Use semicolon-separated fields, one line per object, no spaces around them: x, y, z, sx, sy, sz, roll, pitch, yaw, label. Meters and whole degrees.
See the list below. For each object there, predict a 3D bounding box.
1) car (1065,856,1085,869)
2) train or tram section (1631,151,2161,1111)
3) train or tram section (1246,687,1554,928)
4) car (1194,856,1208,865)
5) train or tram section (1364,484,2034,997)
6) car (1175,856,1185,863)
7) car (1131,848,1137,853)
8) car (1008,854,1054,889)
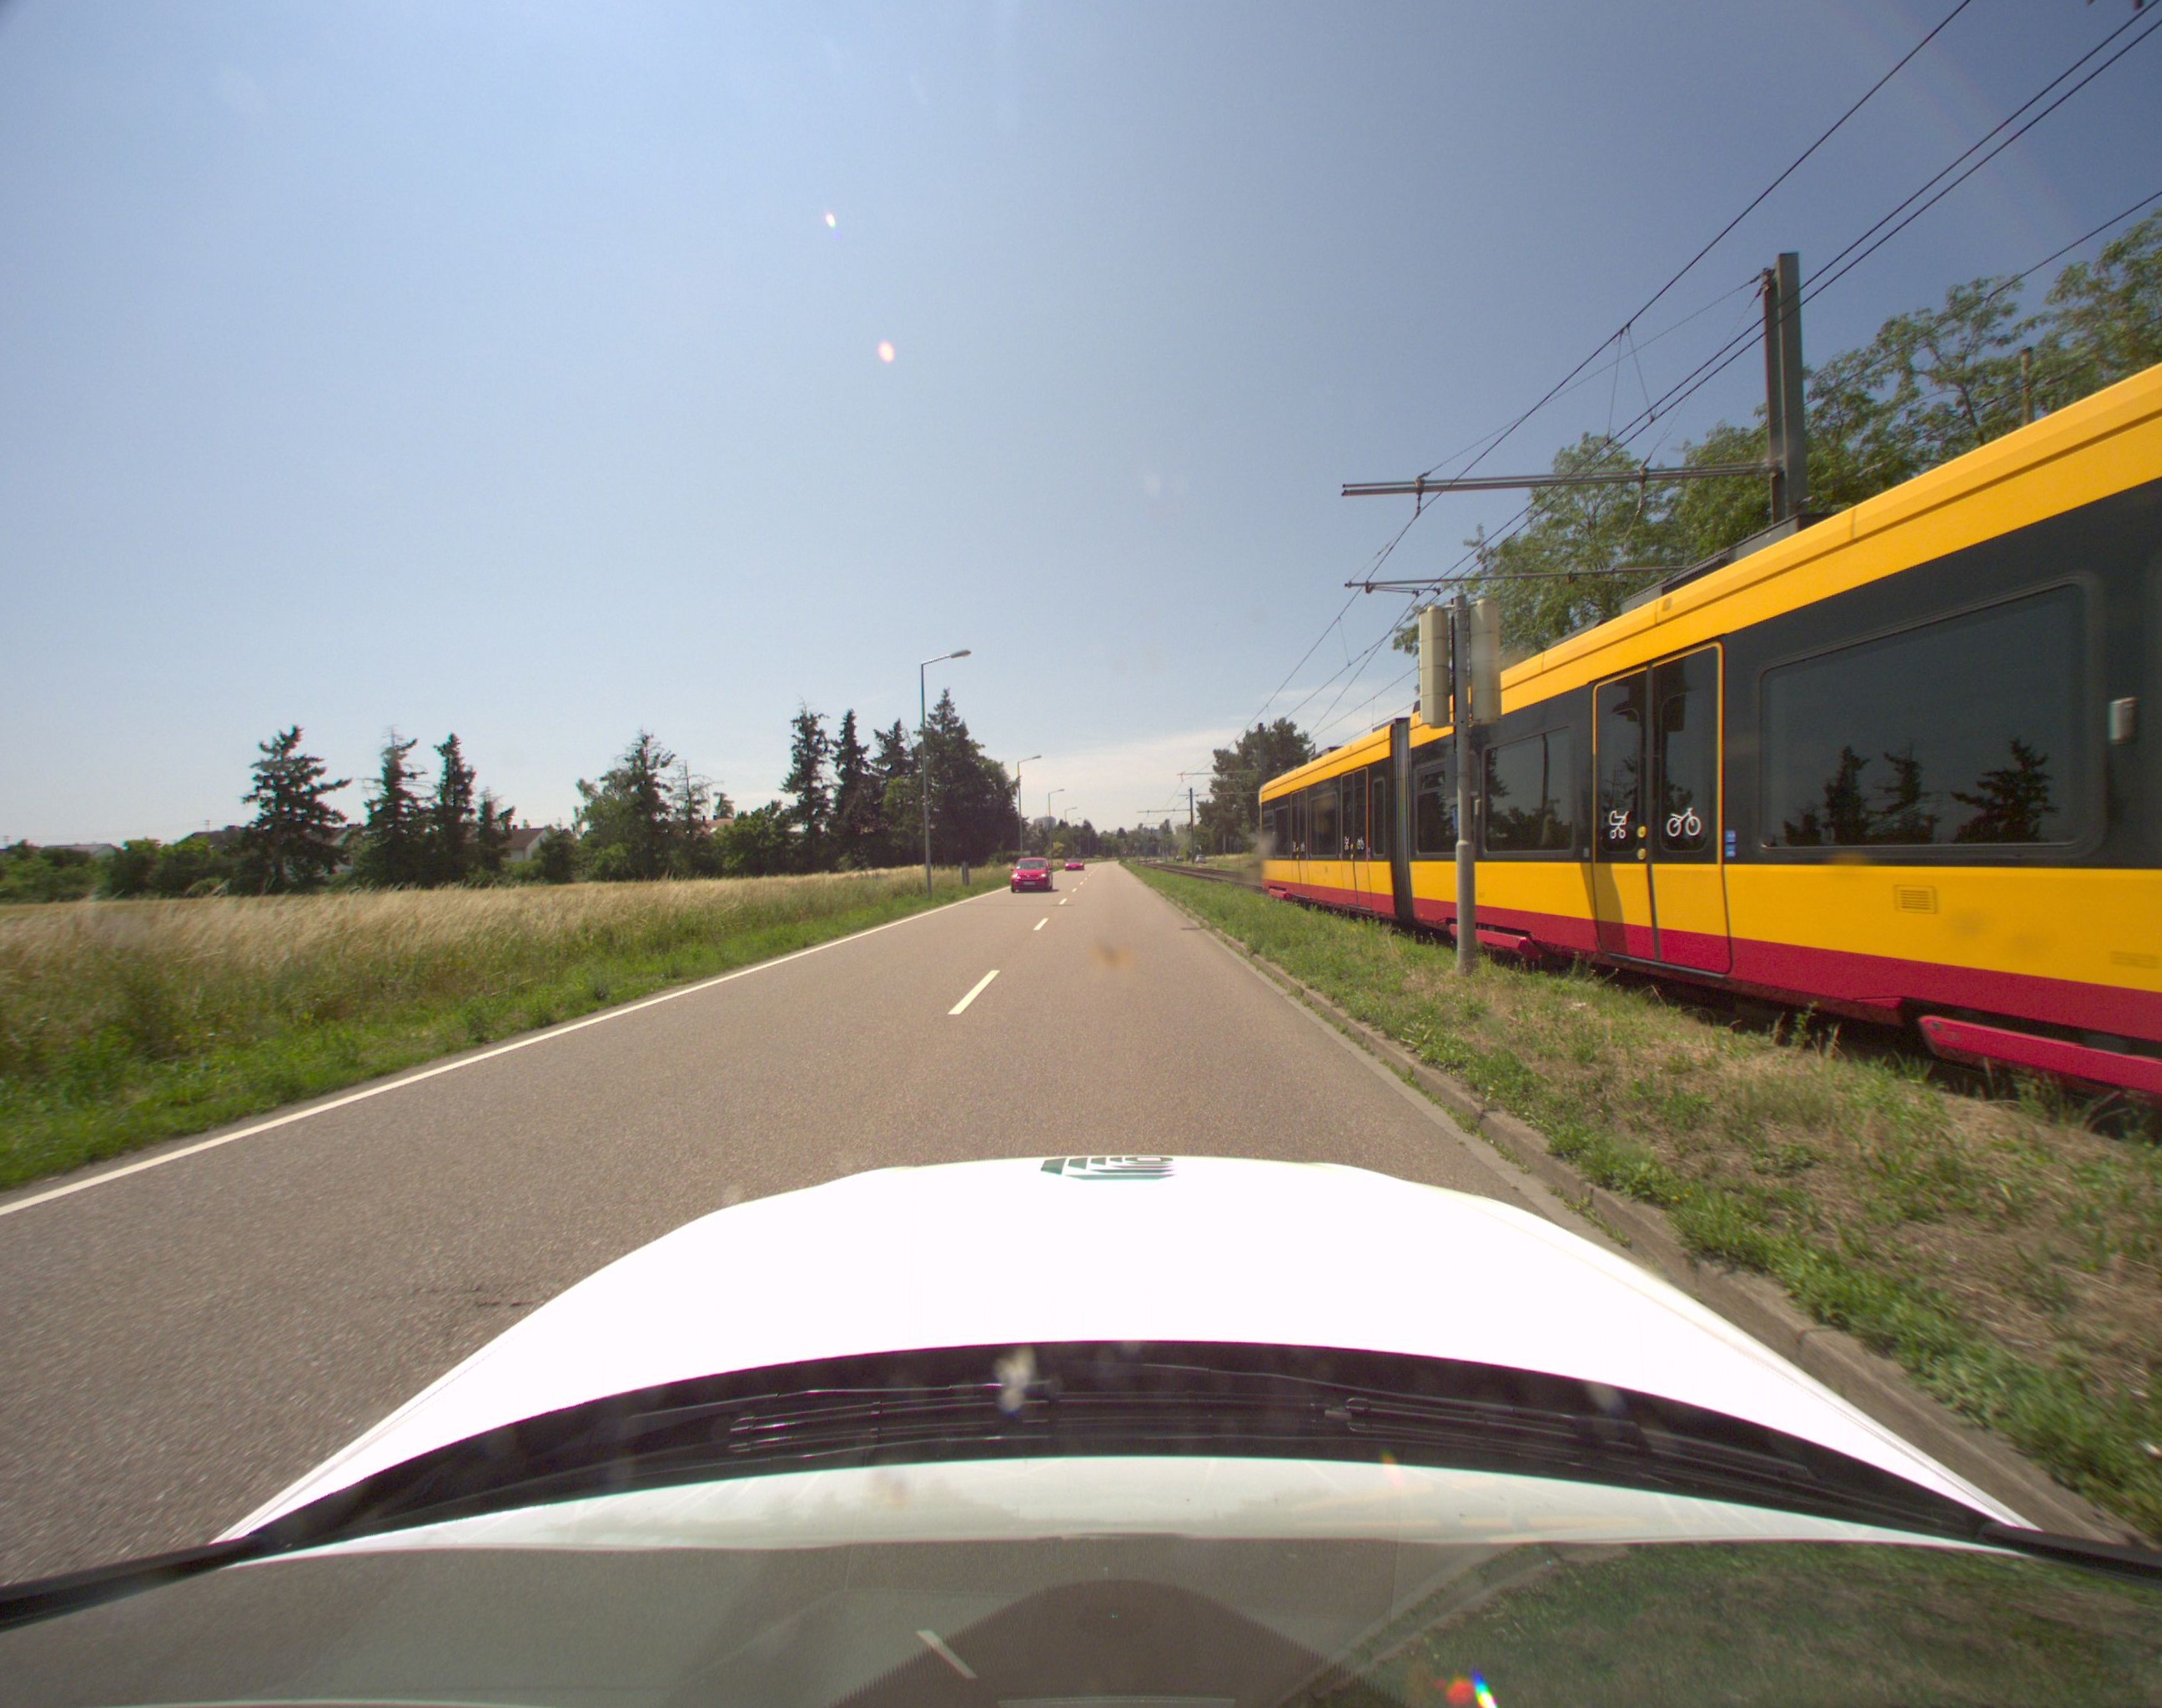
-0.611;0.887;83.966;1.800;1.286;4.287;-2;-1;2;car
5.481;-0.894;2.857;2.551;3.714;6.731;-2;-1;2;train or tram section
6.138;-0.624;18.386;2.755;3.689;11.189;-2;-1;2;train or tram section
21.524;1.118;146.557;1.986;1.508;4.001;-2;-1;2;car
5.797;-0.800;9.497;2.691;3.766;6.731;-2;-1;2;train or tram section
24.559;1.416;202.102;1.908;1.662;4.002;-2;-1;2;car
16.660;-1.153;256.944;1.546;1.585;3.571;-2;-1;2;car
-2.141;0.769;35.985;1.639;1.400;3.846;-2;-1;2;car
